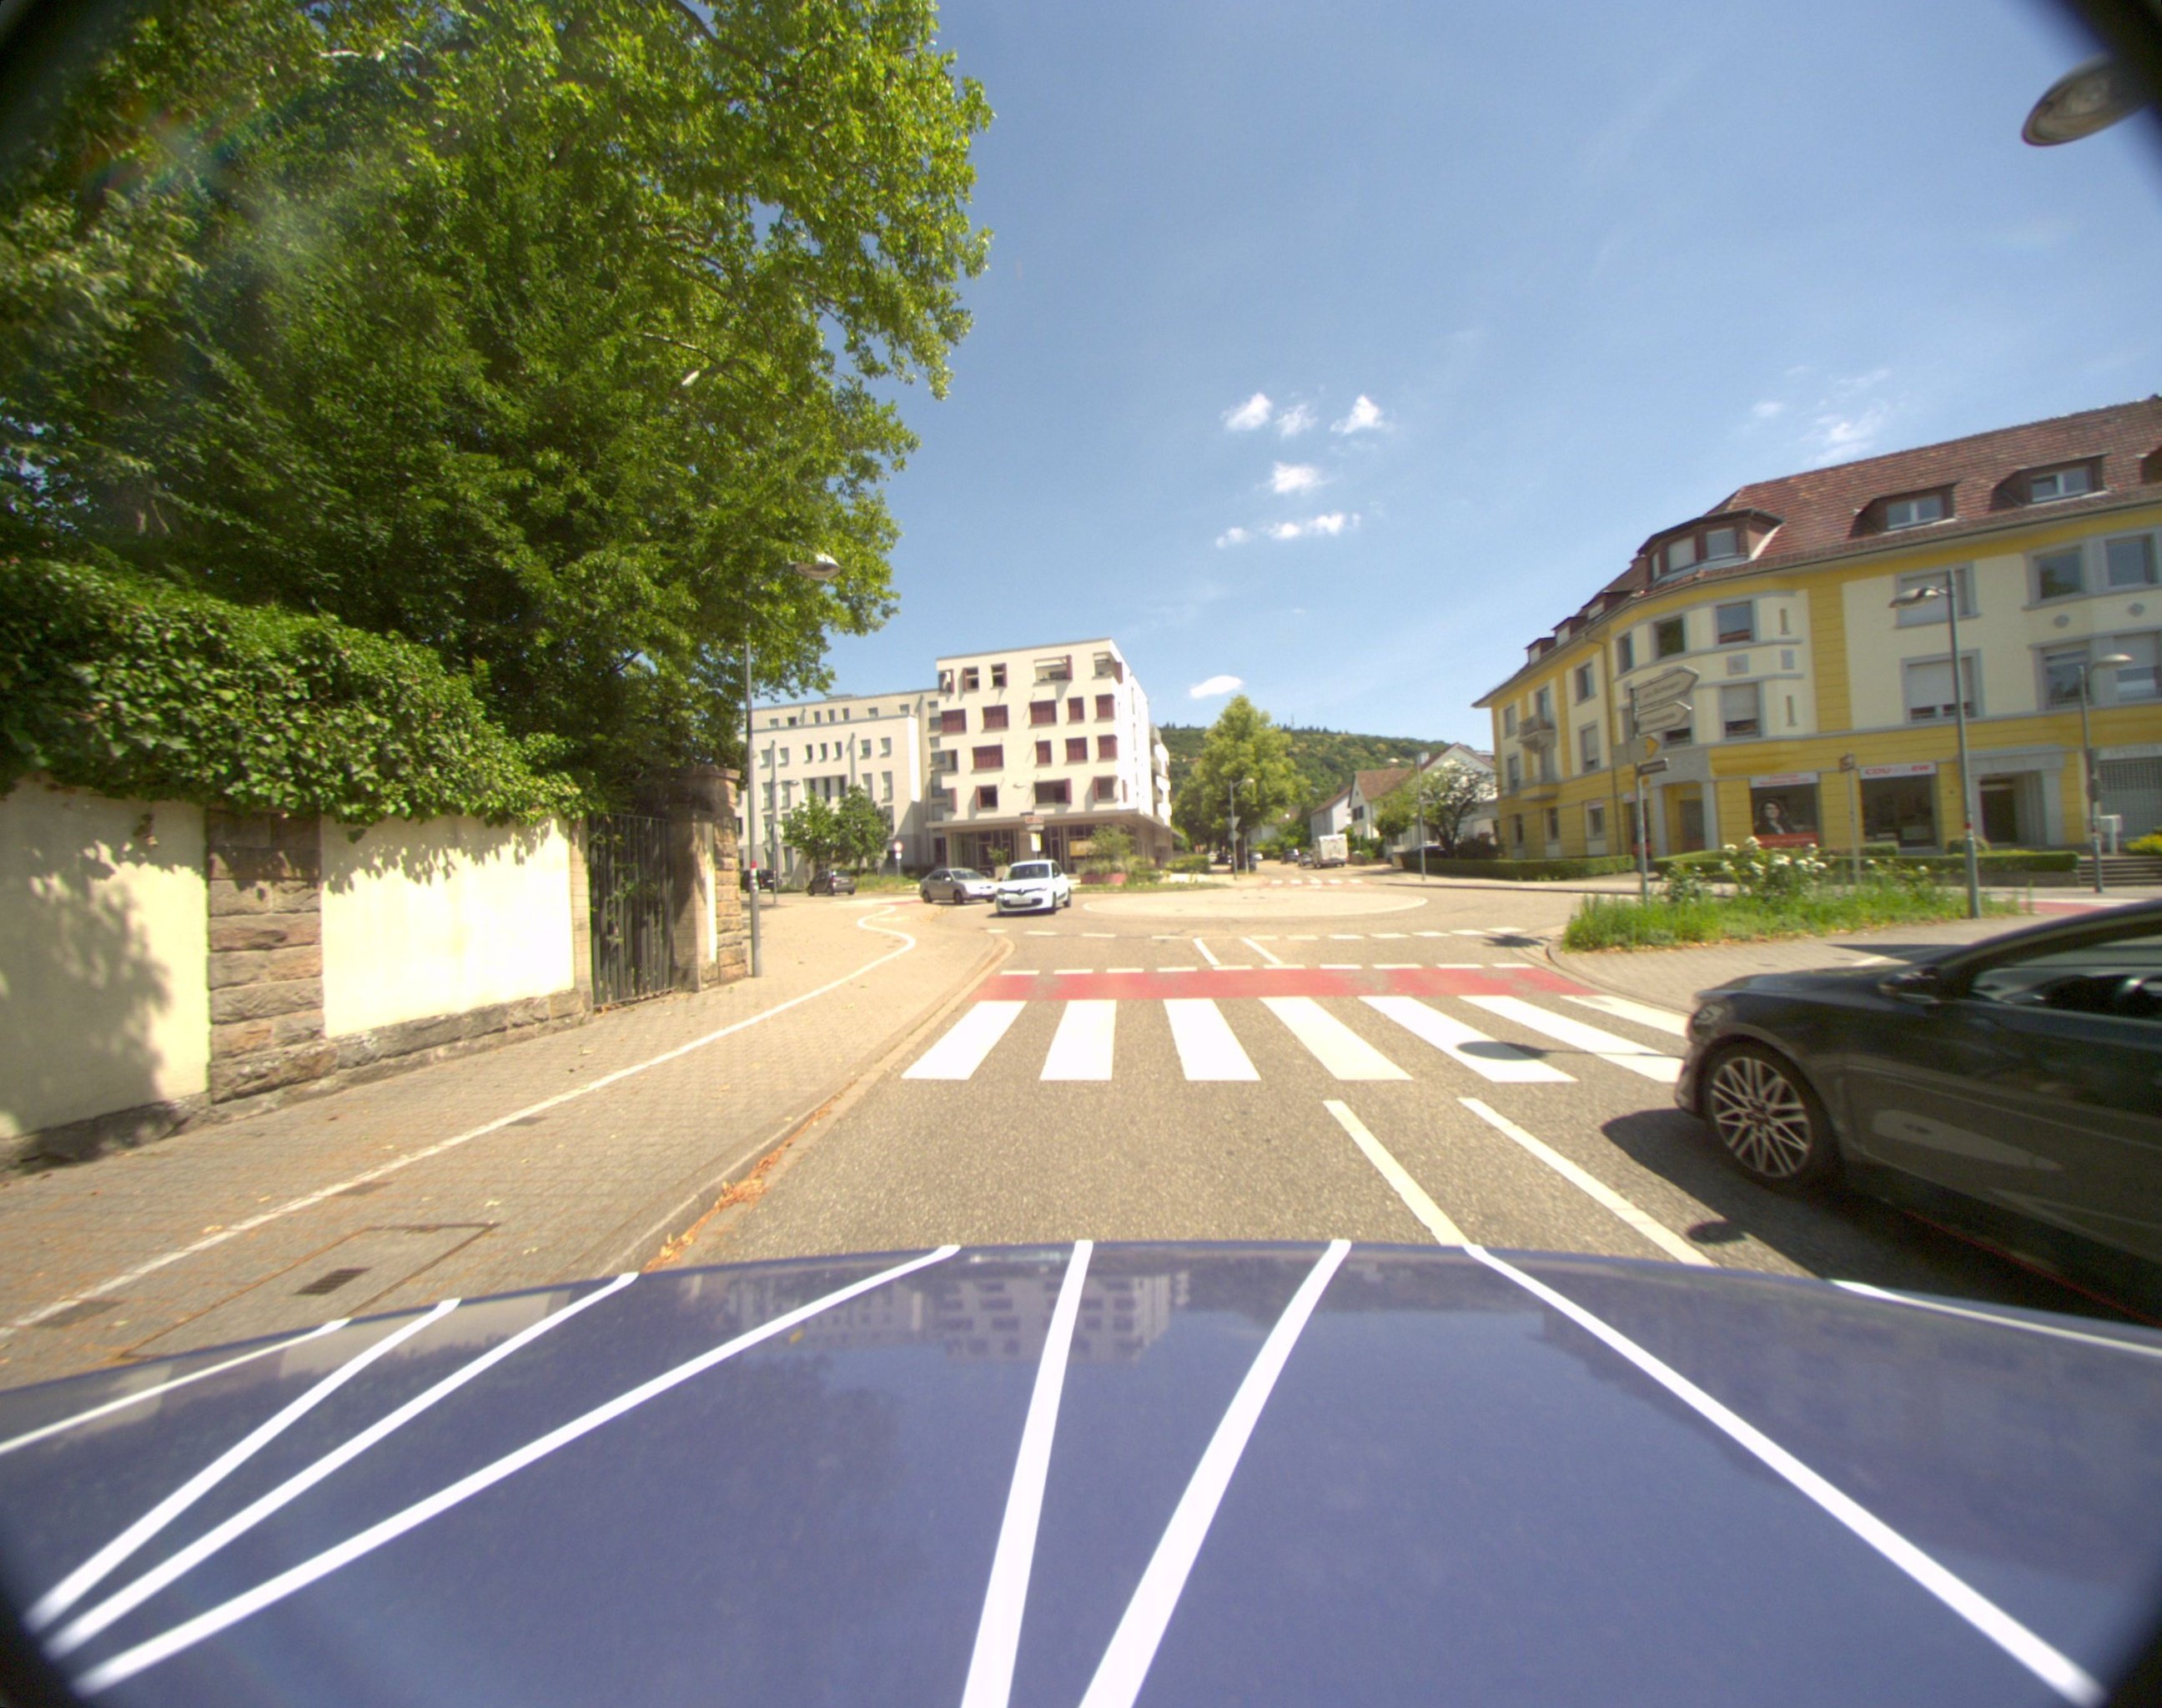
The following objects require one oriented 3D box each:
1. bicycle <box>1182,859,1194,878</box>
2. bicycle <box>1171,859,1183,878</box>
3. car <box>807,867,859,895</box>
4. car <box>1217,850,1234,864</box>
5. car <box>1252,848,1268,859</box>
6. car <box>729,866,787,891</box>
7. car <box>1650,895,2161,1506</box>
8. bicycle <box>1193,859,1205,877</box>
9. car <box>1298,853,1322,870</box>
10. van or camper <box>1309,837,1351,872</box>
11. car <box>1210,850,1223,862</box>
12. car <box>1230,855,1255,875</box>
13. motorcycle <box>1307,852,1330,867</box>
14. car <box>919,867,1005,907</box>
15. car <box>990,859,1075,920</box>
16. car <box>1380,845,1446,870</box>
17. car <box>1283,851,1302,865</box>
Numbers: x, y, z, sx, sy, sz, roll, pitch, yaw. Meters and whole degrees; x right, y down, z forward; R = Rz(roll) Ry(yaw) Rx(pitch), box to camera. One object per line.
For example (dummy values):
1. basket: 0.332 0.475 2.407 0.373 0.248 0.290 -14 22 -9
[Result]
1. bicycle: 8.276 1.093 58.648 0.569 1.369 1.750 -2 0 18
2. bicycle: 7.462 1.111 58.875 0.569 1.369 1.750 -2 0 18
3. car: -14.318 1.537 43.841 2.781 1.521 1.573 -2 0 39
4. car: 18.695 0.336 98.451 1.997 1.657 4.002 -2 1 8
5. car: 27.996 -0.130 119.162 1.997 1.657 4.002 -2 1 8
6. car: -23.229 1.769 54.579 4.010 1.628 1.703 -2 0 30
7. car: 3.615 0.935 1.529 1.773 1.418 4.393 -2 0 3
8. bicycle: 9.060 1.057 58.387 0.569 1.369 1.750 -2 0 18
9. car: 22.403 0.699 74.388 1.754 1.496 3.996 -2 0 10
10. van or camper: 21.091 0.048 64.650 2.271 2.623 5.890 -5 0 9
11. car: 20.738 0.355 116.304 1.764 1.739 4.003 -2 0 10
12. car: 13.074 0.843 61.670 1.754 1.496 3.995 -2 0 9
13. motorcycle: 21.885 0.496 70.099 2.237 1.312 0.738 -2 0 -34
14. car: -4.884 1.285 30.749 1.611 1.443 3.989 -2 0 -39
15. car: -1.346 0.990 22.865 1.658 1.516 4.164 -3 1 9
16. car: 23.936 0.262 54.843 3.991 1.576 1.756 -2 0 -4
17. car: 24.810 0.469 89.264 1.754 1.496 3.996 -2 0 10
